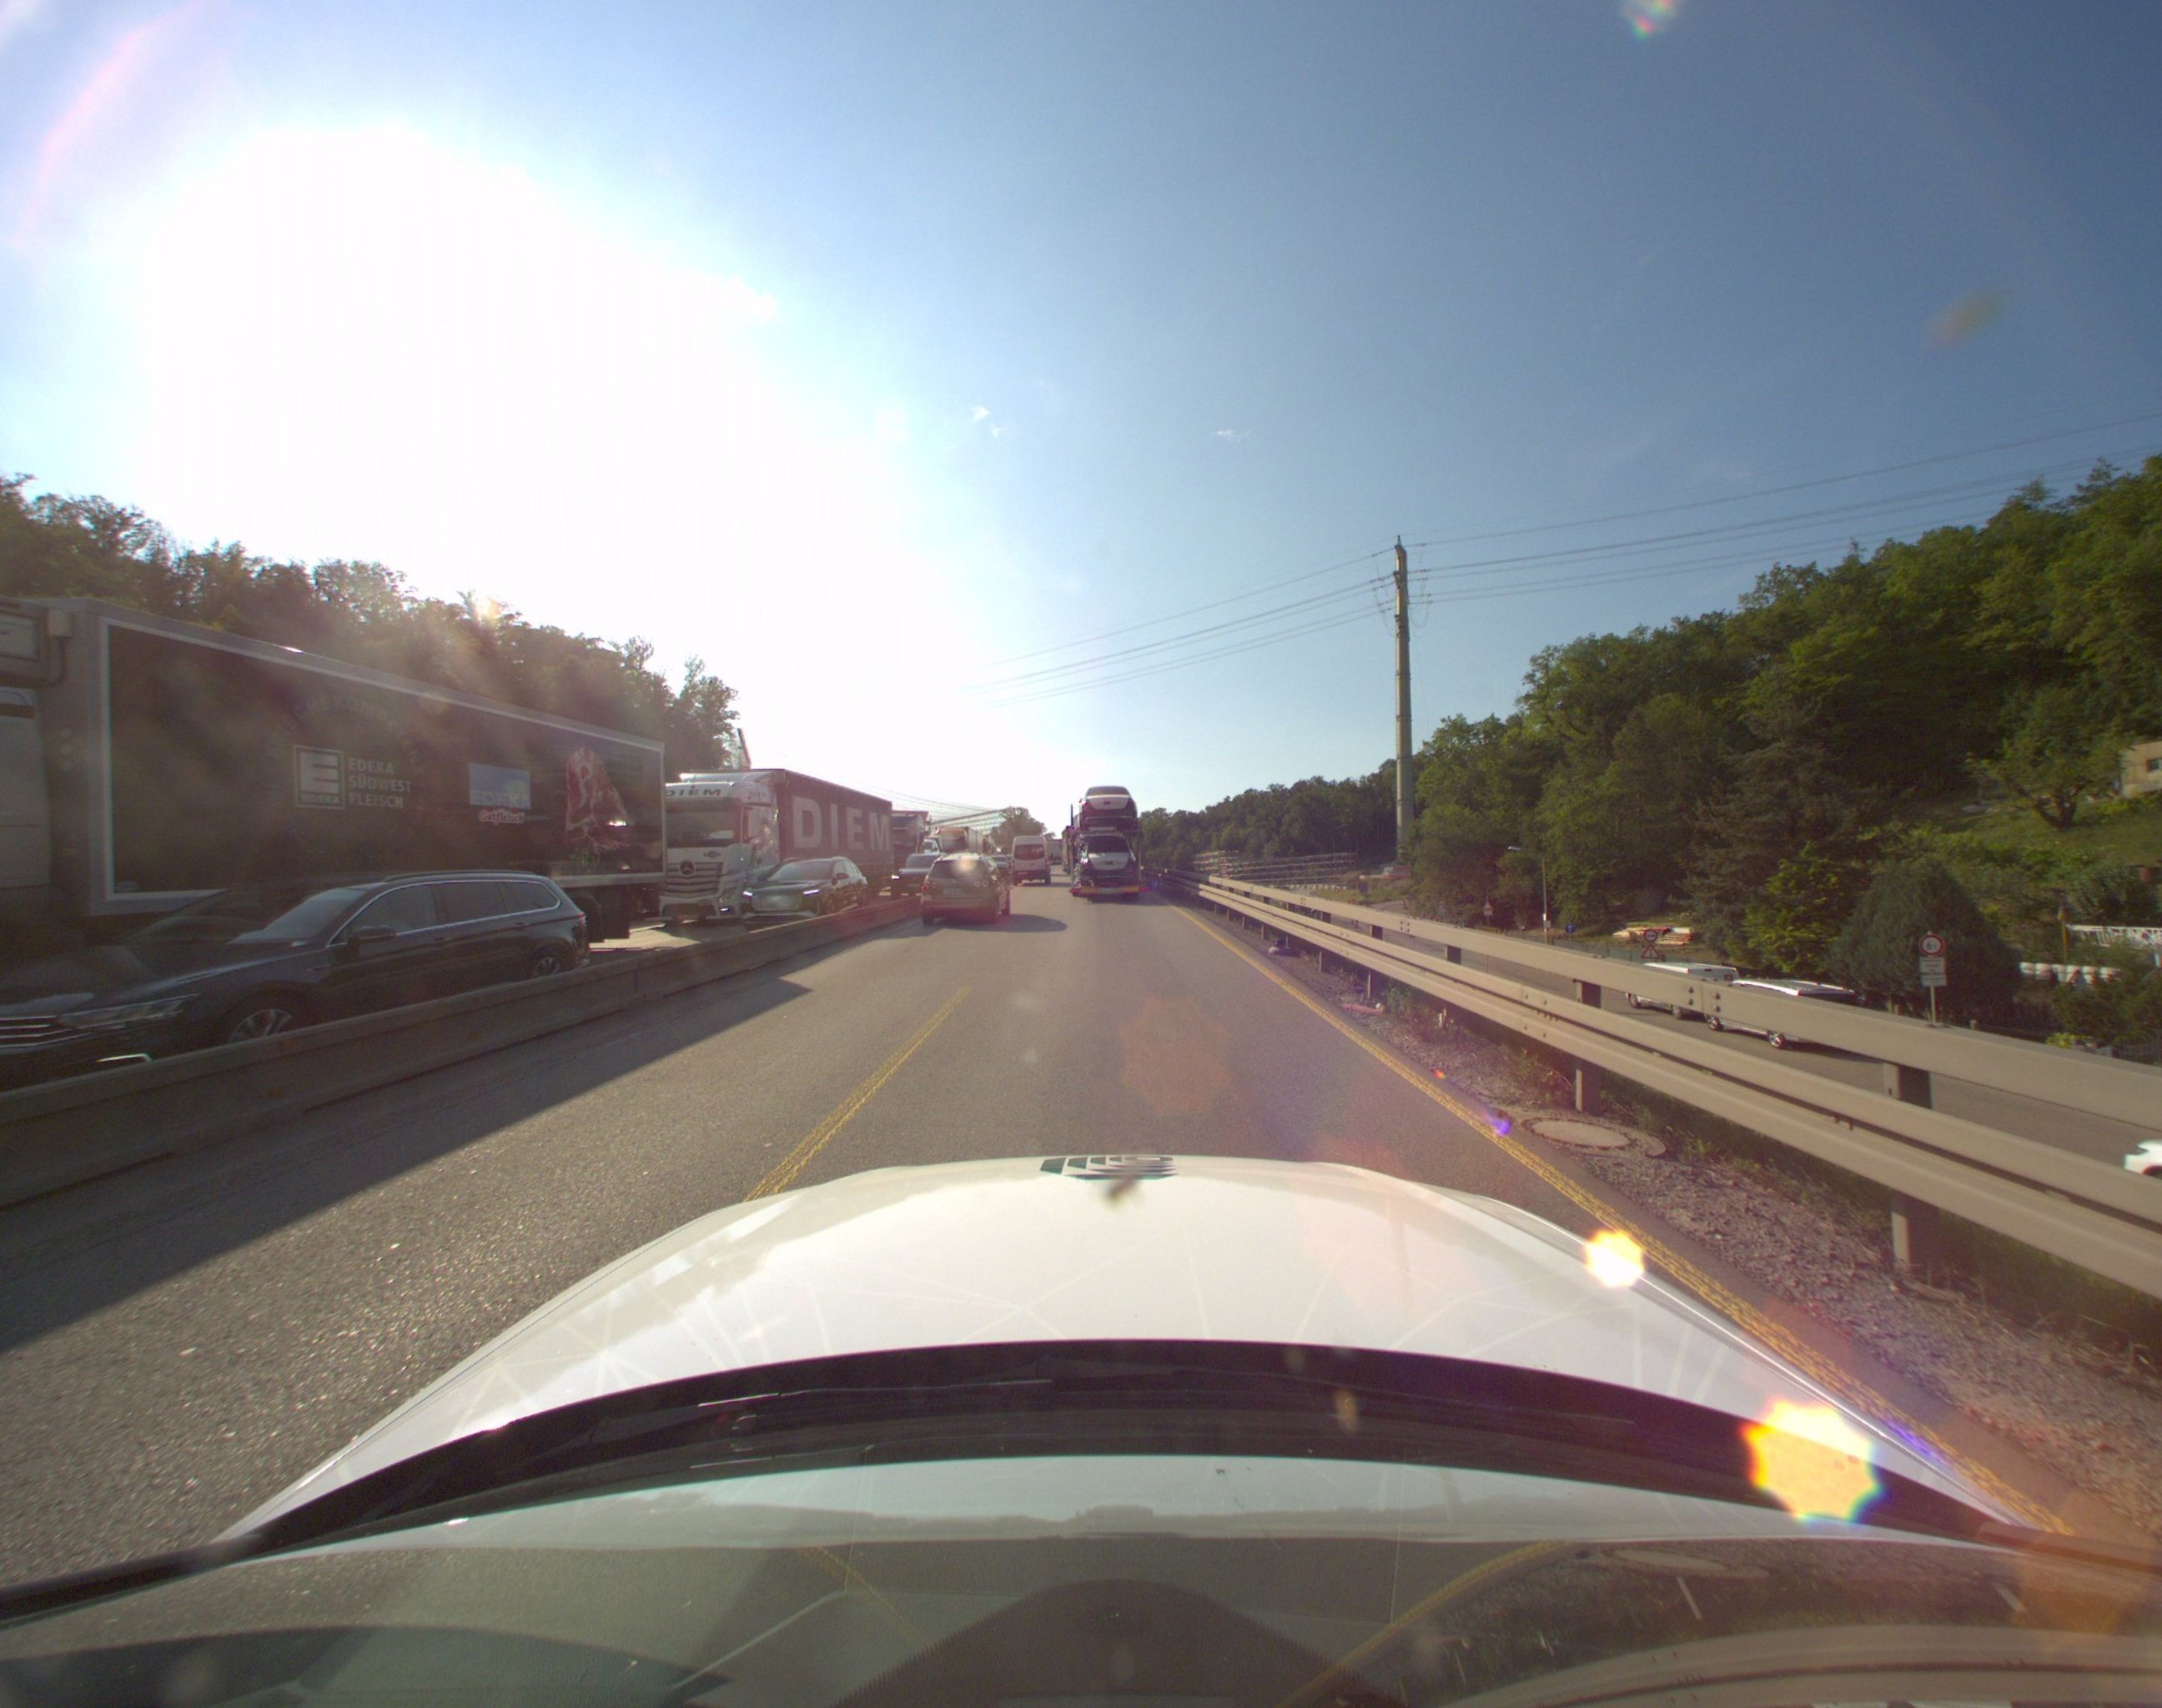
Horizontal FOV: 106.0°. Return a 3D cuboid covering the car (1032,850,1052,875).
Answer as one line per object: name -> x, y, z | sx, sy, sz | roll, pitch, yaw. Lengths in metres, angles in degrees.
car -> -3.211, 0.748, 67.519 | 1.524, 2.014, 3.997 | 1, -1, -1

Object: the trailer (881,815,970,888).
trailer -> -9.480, -0.075, 52.065 | 2.741, 3.815, 16.037 | -3, -1, -1

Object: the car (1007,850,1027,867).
car -> -6.826, 0.458, 87.521 | 1.922, 1.701, 4.686 | -2, -1, -2

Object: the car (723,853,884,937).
car -> -6.314, 0.866, 19.296 | 1.871, 1.605, 5.367 | -3, -1, 0

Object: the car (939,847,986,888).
car -> -6.273, 0.753, 43.667 | 1.819, 1.933, 5.125 | -4, -1, -2

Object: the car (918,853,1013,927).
car -> -2.736, 0.825, 20.106 | 1.695, 1.587, 4.146 | -2, -1, 0

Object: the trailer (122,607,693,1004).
trailer -> -9.340, -0.509, 12.813 | 2.901, 4.466, 7.153 | -1, -1, 1

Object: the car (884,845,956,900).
car -> -6.222, 0.729, 32.008 | 1.827, 1.963, 4.898 | -2, -1, 0

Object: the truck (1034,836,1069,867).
truck -> -4.873, -0.380, 131.807 | 3.651, 4.677, 11.648 | -1, 0, -12

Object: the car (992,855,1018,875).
car -> -6.504, 0.966, 69.917 | 1.954, 1.645, 4.843 | -2, -1, -2

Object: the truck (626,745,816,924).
truck -> -9.307, -0.438, 21.732 | 2.741, 4.115, 5.028 | -3, -1, -1

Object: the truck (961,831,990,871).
truck -> -11.403, -0.302, 88.464 | 2.689, 4.197, 4.391 | -2, -1, -4

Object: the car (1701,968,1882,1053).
car -> 21.960, 4.778, 25.503 | 1.983, 1.917, 4.876 | -2, -3, 10

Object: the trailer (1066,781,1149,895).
trailer -> 0.898, -0.439, 36.801 | 2.866, 3.994, 15.273 | -2, -1, 0

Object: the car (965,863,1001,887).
car -> -6.614, 1.395, 55.240 | 1.797, 1.521, 4.816 | -3, -1, 0

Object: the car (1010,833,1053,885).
car -> -2.670, 0.284, 44.761 | 1.972, 2.684, 4.147 | -2, -1, 0

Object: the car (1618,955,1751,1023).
car -> 23.074, 5.114, 31.406 | 1.852, 1.986, 5.062 | -2, -3, 8

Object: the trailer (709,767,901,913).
trailer -> -9.400, -0.355, 29.892 | 2.706, 4.122, 12.488 | -3, -1, 0

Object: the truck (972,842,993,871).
truck -> -14.433, 0.485, 120.565 | 2.805, 3.970, 13.862 | 0, -1, -6

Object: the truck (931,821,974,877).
truck -> -10.169, -0.338, 65.024 | 2.695, 4.141, 5.788 | -2, -1, -3

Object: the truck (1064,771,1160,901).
truck -> 0.947, -0.521, 28.313 | 2.861, 3.980, 5.769 | -2, -1, -1

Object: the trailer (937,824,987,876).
trailer -> -10.607, -0.153, 74.391 | 2.708, 4.135, 16.733 | -2, -1, -3

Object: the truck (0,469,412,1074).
truck -> -9.485, -0.580, 7.201 | 2.909, 4.514, 5.028 | -1, -1, 1

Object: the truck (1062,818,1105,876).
truck -> 0.088, -0.598, 71.653 | 3.220, 4.677, 11.685 | -1, 0, -2

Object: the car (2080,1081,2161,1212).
car -> 16.439, 4.336, 10.623 | 1.658, 1.662, 4.481 | -2, -3, 9

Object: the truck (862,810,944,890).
truck -> -9.311, -0.155, 43.358 | 2.741, 3.805, 7.107 | -3, -1, -1

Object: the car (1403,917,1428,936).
car -> 31.498, 6.783, 76.689 | 1.515, 1.461, 4.284 | -2, -1, 14

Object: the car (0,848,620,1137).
car -> -6.299, 0.819, 6.931 | 1.855, 1.586, 4.747 | 2, -2, 2
